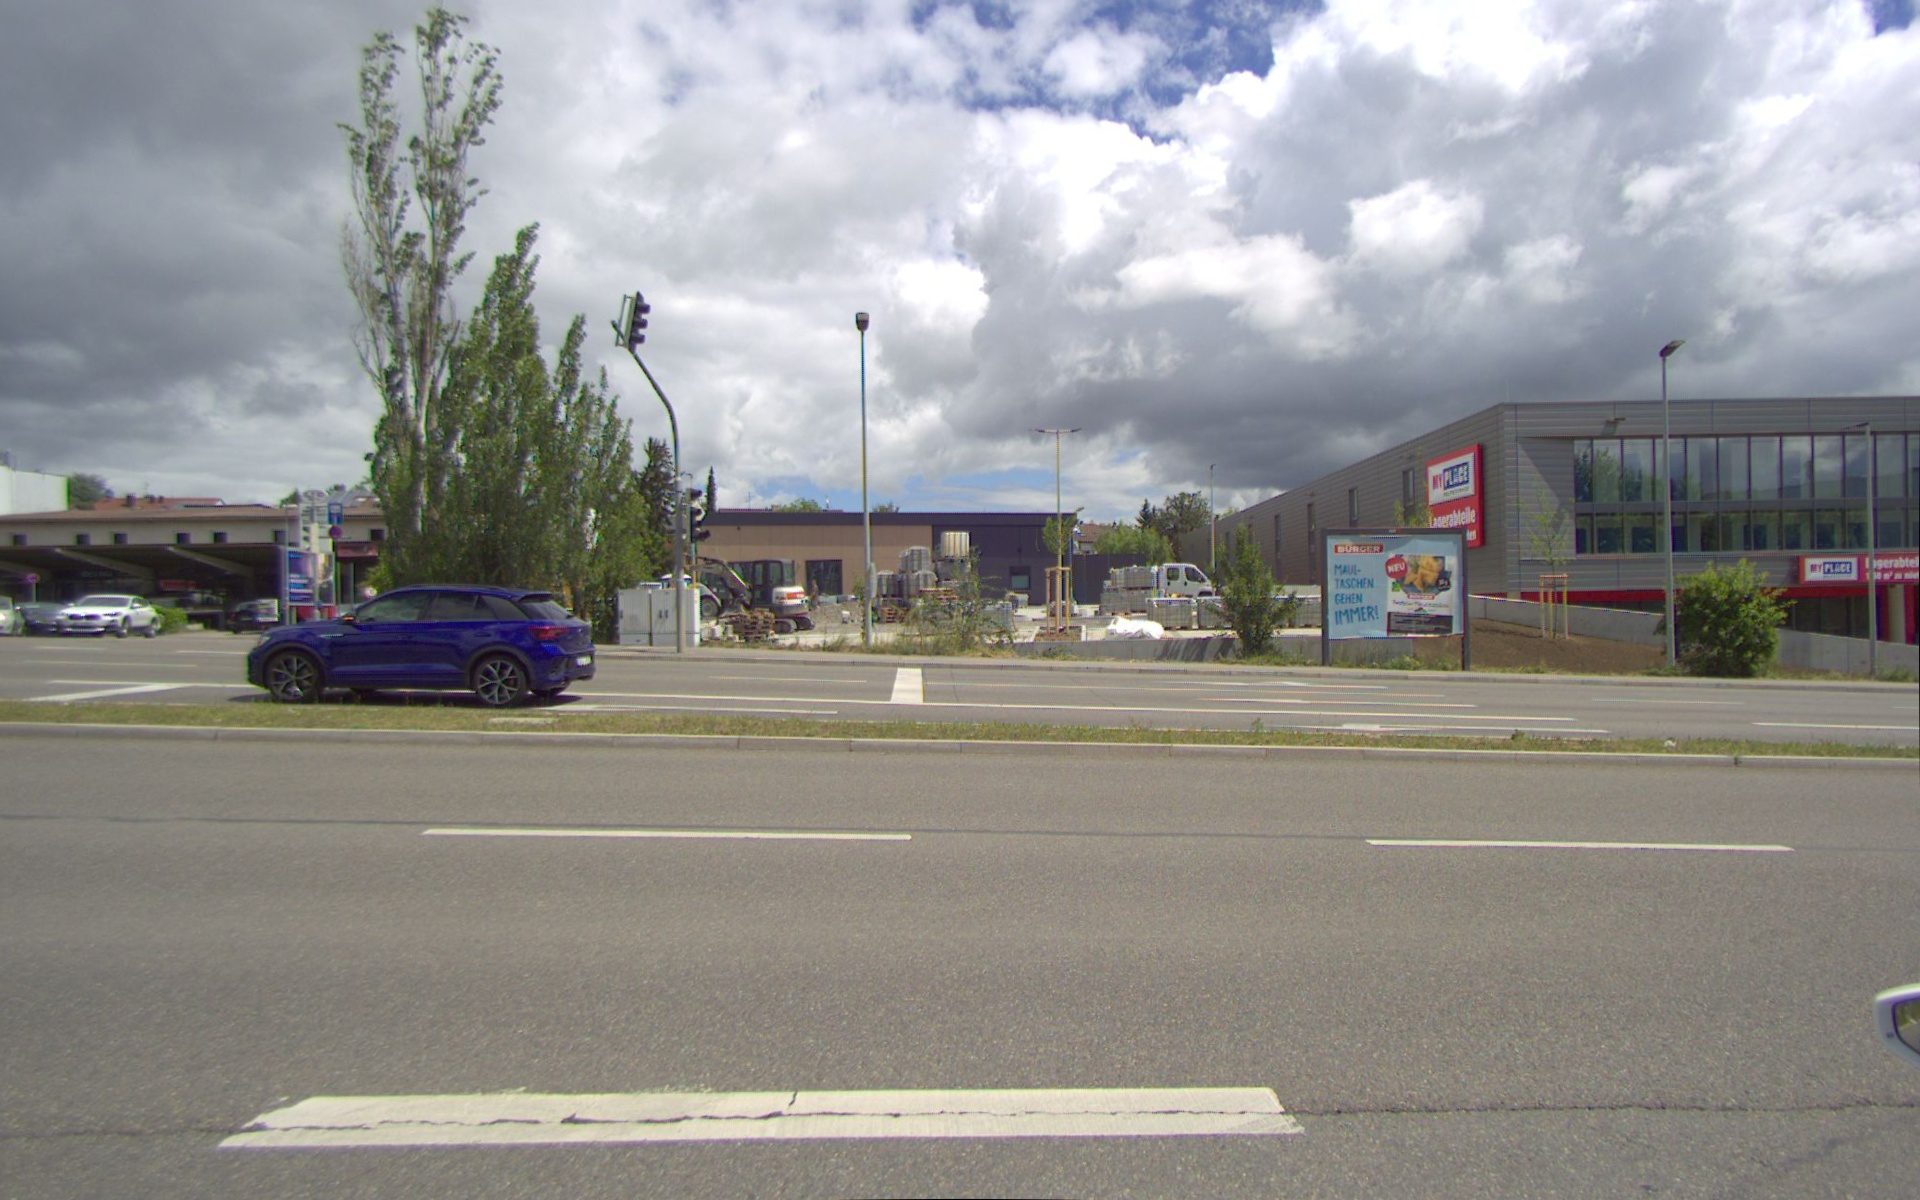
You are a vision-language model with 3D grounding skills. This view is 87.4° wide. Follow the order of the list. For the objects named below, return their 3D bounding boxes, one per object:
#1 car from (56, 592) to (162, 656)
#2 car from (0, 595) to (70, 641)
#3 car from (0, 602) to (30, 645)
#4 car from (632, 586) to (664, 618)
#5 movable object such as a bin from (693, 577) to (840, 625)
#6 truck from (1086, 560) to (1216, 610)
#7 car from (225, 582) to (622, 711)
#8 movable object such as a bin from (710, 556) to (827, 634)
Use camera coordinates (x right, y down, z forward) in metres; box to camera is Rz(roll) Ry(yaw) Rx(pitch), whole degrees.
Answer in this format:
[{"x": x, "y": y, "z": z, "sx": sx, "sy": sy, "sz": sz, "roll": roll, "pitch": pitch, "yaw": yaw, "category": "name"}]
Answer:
[{"x": -29.832, "y": 0.874, "z": 35.362, "sx": 1.975, "sy": 2.040, "sz": 3.971, "roll": -3, "pitch": -1, "yaw": -28, "category": "car"}, {"x": -36.438, "y": 0.689, "z": 39.470, "sx": 1.723, "sy": 1.673, "sz": 3.816, "roll": 1, "pitch": 0, "yaw": -35, "category": "car"}, {"x": -33.209, "y": 0.772, "z": 34.367, "sx": 1.682, "sy": 1.419, "sz": 3.956, "roll": 2, "pitch": -1, "yaw": -38, "category": "car"}, {"x": -18.137, "y": 0.125, "z": 58.520, "sx": 1.686, "sy": 1.757, "sz": 3.723, "roll": 2, "pitch": -1, "yaw": -17, "category": "car"}, {"x": -9.727, "y": 0.061, "z": 50.682, "sx": 6.805, "sy": 2.040, "sz": 2.297, "roll": -3, "pitch": 0, "yaw": 10, "category": "movable object such as a bin"}, {"x": 9.972, "y": -0.755, "z": 52.537, "sx": 6.448, "sy": 2.174, "sz": 2.001, "roll": -3, "pitch": 0, "yaw": 12, "category": "truck"}, {"x": -7.007, "y": 0.592, "z": 13.477, "sx": 4.312, "sy": 1.531, "sz": 1.810, "roll": 1, "pitch": 0, "yaw": -2, "category": "car"}, {"x": -6.669, "y": -0.152, "z": 35.118, "sx": 3.346, "sy": 2.571, "sz": 2.154, "roll": 1, "pitch": -1, "yaw": 15, "category": "movable object such as a bin"}]
